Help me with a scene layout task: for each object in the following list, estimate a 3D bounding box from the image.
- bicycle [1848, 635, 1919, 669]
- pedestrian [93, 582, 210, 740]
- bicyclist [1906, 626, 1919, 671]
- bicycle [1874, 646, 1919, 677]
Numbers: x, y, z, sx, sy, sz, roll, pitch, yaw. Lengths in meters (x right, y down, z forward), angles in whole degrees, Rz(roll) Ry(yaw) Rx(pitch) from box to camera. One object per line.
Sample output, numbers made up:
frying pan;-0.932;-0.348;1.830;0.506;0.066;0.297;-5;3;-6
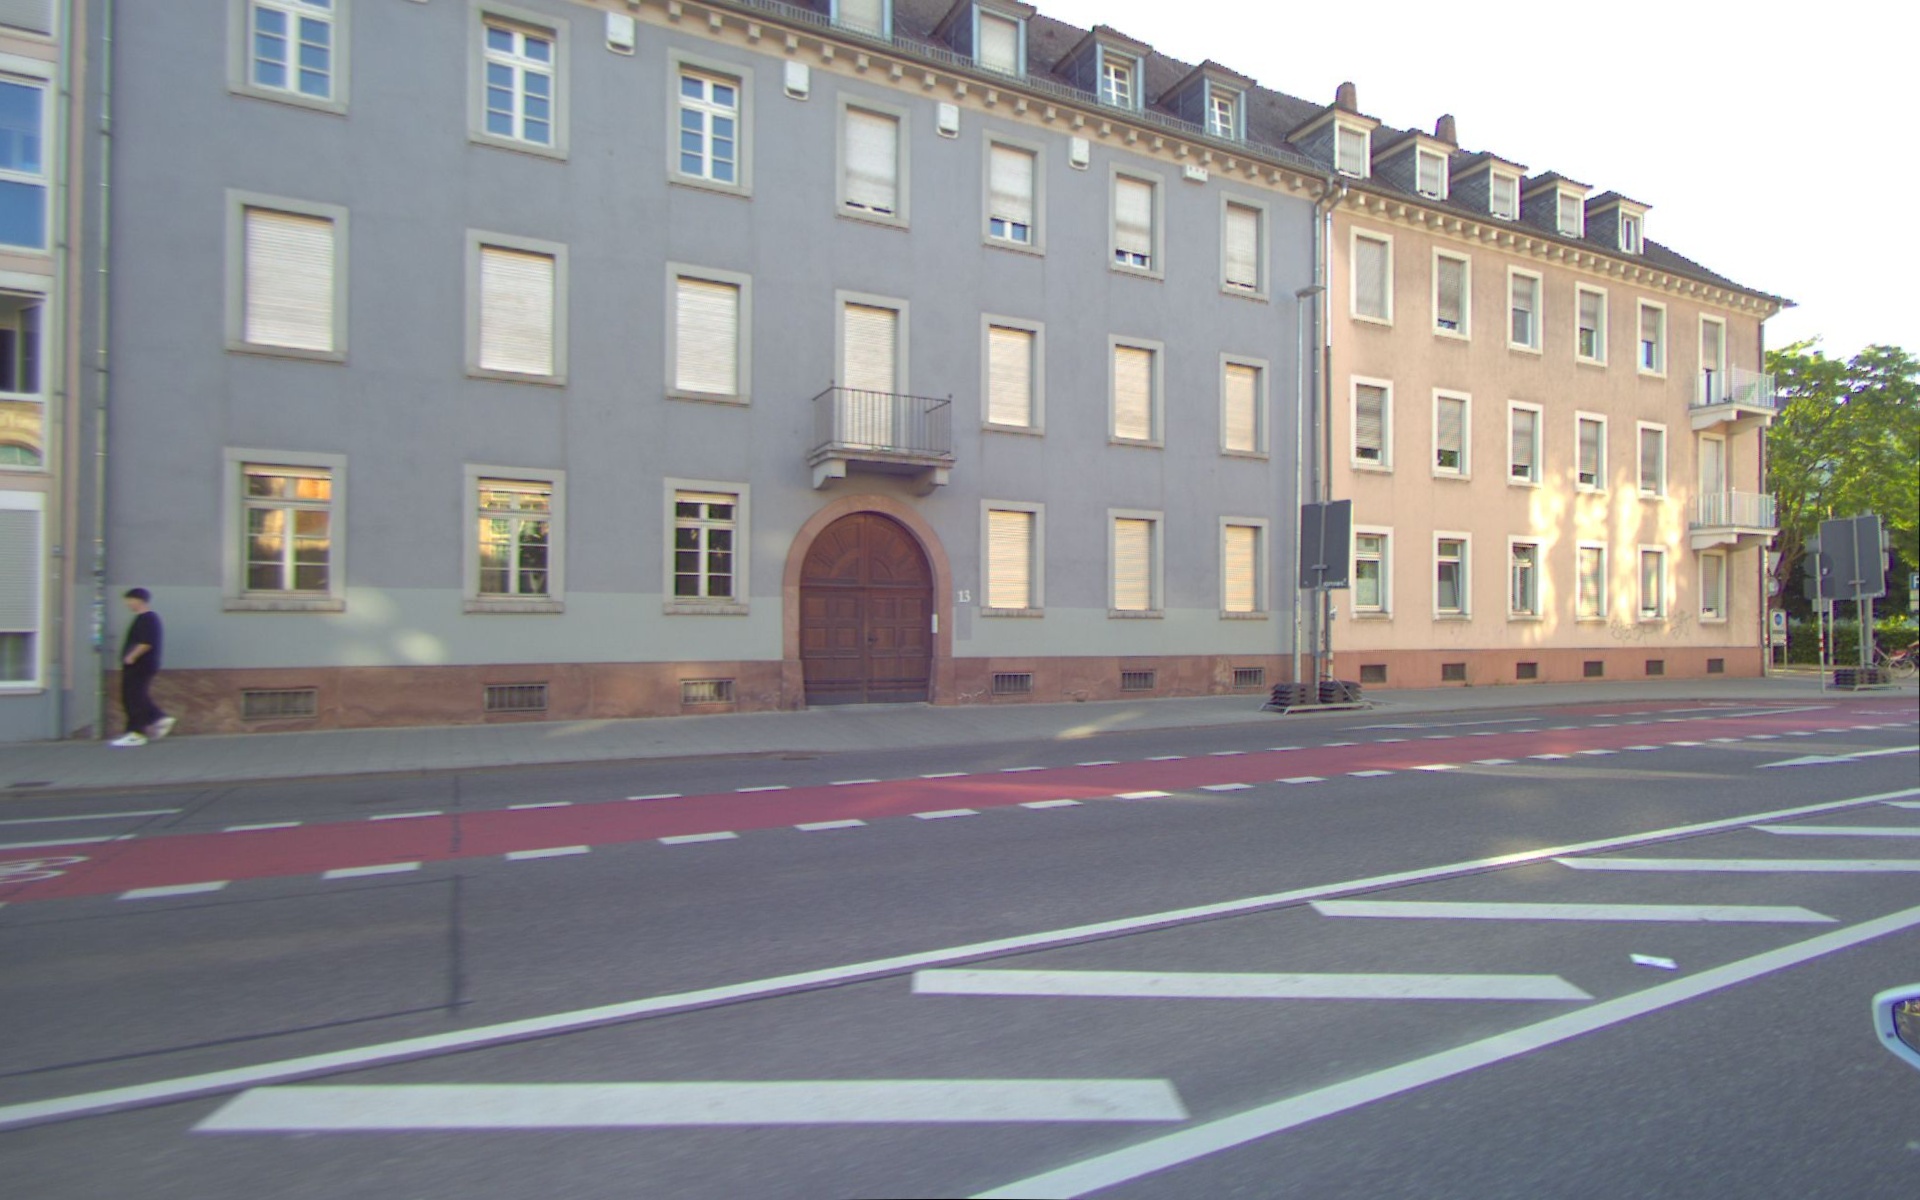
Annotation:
bicycle;35.607;1.968;38.517;0.552;1.246;2.316;1;-2;-21
pedestrian;-9.985;0.733;12.441;1.000;1.871;0.628;1;1;-28
bicyclist;32.495;1.648;33.914;0.733;1.504;0.658;1;-3;-36
bicycle;32.426;2.078;34.005;0.732;1.009;2.088;0;-2;-35
